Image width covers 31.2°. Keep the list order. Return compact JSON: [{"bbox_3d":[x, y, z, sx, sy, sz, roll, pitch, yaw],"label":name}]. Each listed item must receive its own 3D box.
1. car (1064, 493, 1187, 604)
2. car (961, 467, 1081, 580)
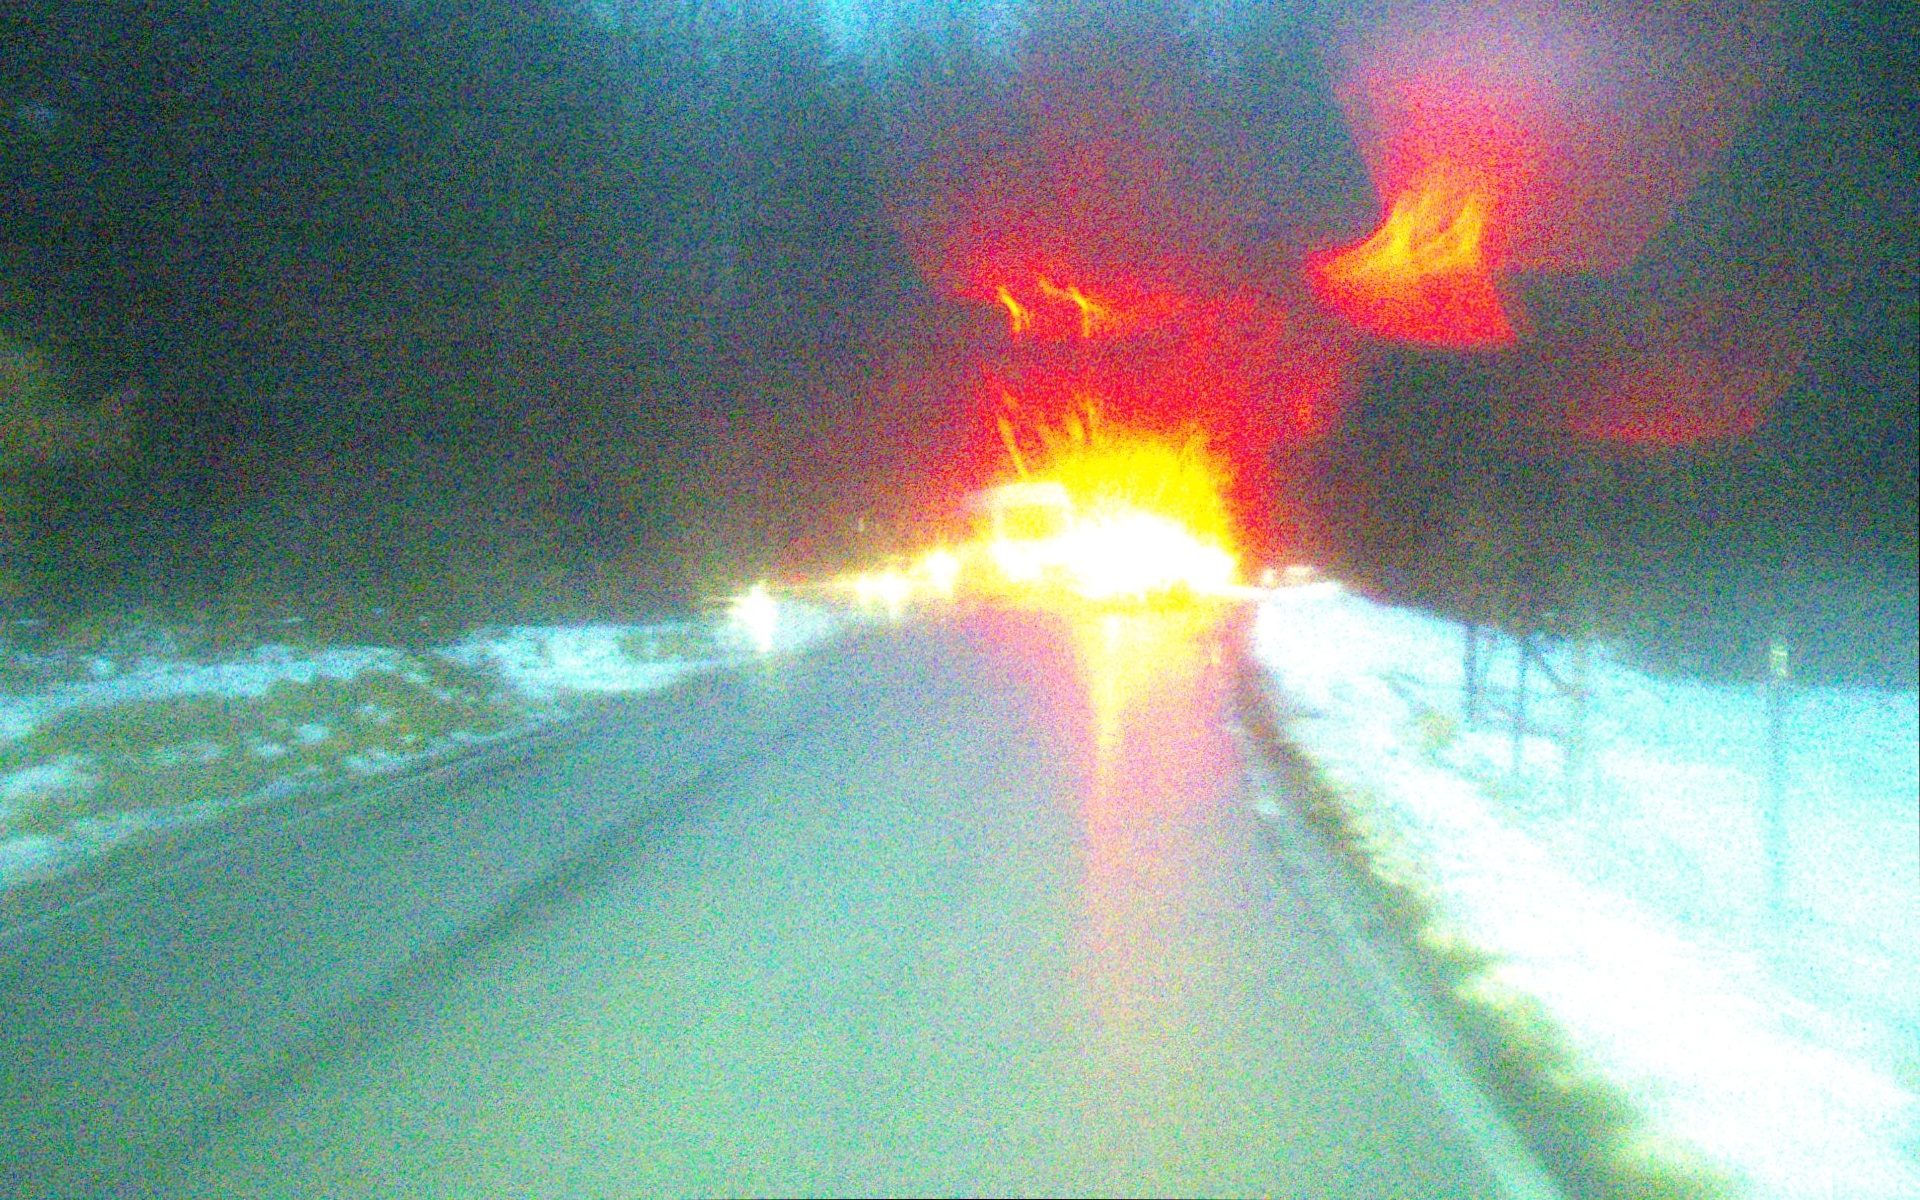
[{"bbox_3d":[3.129,-1.012,65.792,1.993,2.044,4.001,0,2,-2],"label":"car"},{"bbox_3d":[1.449,-1.882,84.428,2.252,2.636,5.007,-1,1,-6],"label":"car"}]
